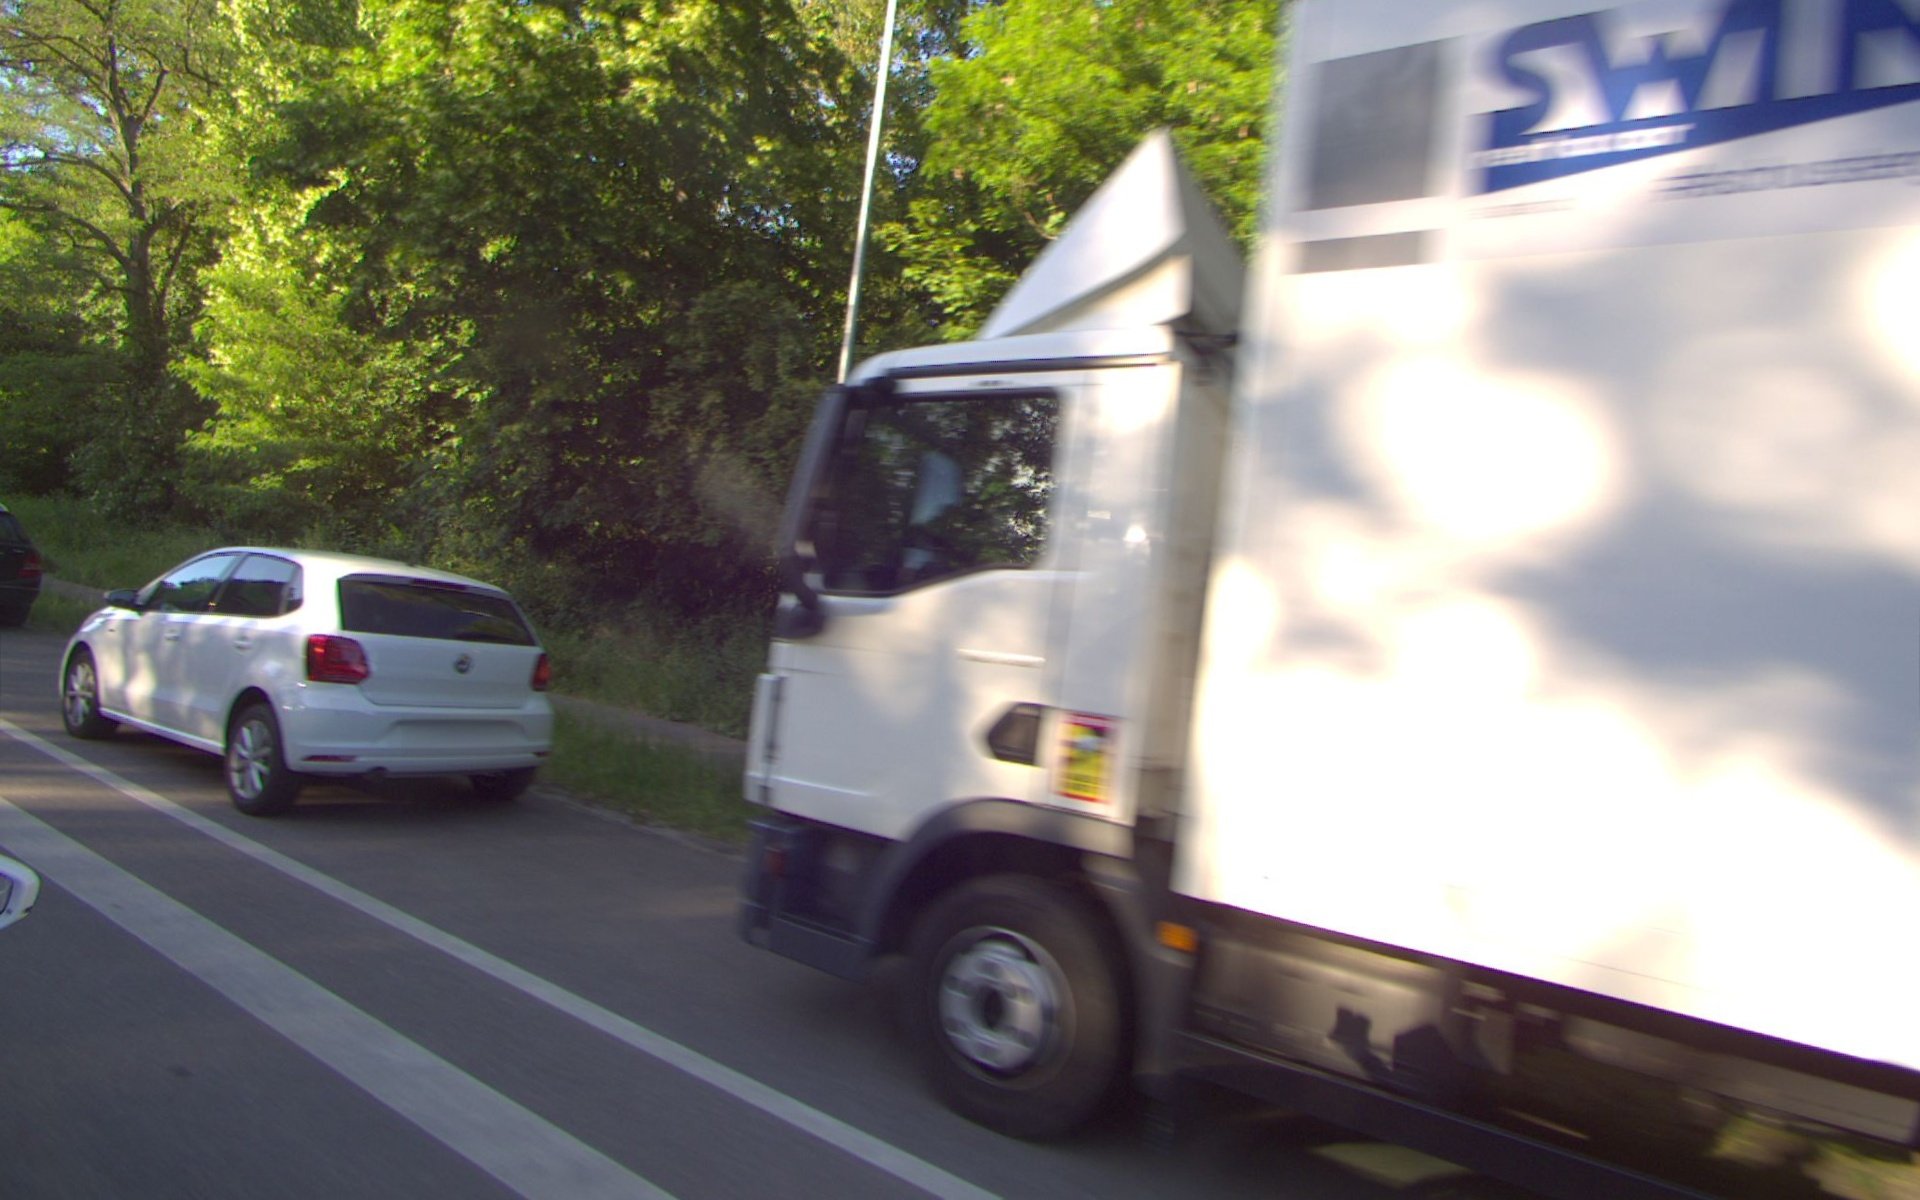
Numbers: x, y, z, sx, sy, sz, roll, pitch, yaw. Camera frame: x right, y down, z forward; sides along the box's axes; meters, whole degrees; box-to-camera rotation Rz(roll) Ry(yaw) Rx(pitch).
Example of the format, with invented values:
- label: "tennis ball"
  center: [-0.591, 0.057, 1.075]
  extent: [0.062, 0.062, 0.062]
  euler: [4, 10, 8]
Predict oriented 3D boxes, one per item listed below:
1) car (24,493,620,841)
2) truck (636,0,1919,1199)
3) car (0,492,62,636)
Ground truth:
- label: "car"
  center: [-4.404, 0.317, 6.808]
  extent: [3.934, 1.586, 1.715]
  euler: [7, -2, 32]
- label: "truck"
  center: [3.372, 0.210, 2.514]
  extent: [8.434, 3.541, 2.836]
  euler: [7, 0, 31]
- label: "car"
  center: [-12.911, -0.682, 12.248]
  extent: [4.477, 1.586, 1.715]
  euler: [7, -2, 33]
